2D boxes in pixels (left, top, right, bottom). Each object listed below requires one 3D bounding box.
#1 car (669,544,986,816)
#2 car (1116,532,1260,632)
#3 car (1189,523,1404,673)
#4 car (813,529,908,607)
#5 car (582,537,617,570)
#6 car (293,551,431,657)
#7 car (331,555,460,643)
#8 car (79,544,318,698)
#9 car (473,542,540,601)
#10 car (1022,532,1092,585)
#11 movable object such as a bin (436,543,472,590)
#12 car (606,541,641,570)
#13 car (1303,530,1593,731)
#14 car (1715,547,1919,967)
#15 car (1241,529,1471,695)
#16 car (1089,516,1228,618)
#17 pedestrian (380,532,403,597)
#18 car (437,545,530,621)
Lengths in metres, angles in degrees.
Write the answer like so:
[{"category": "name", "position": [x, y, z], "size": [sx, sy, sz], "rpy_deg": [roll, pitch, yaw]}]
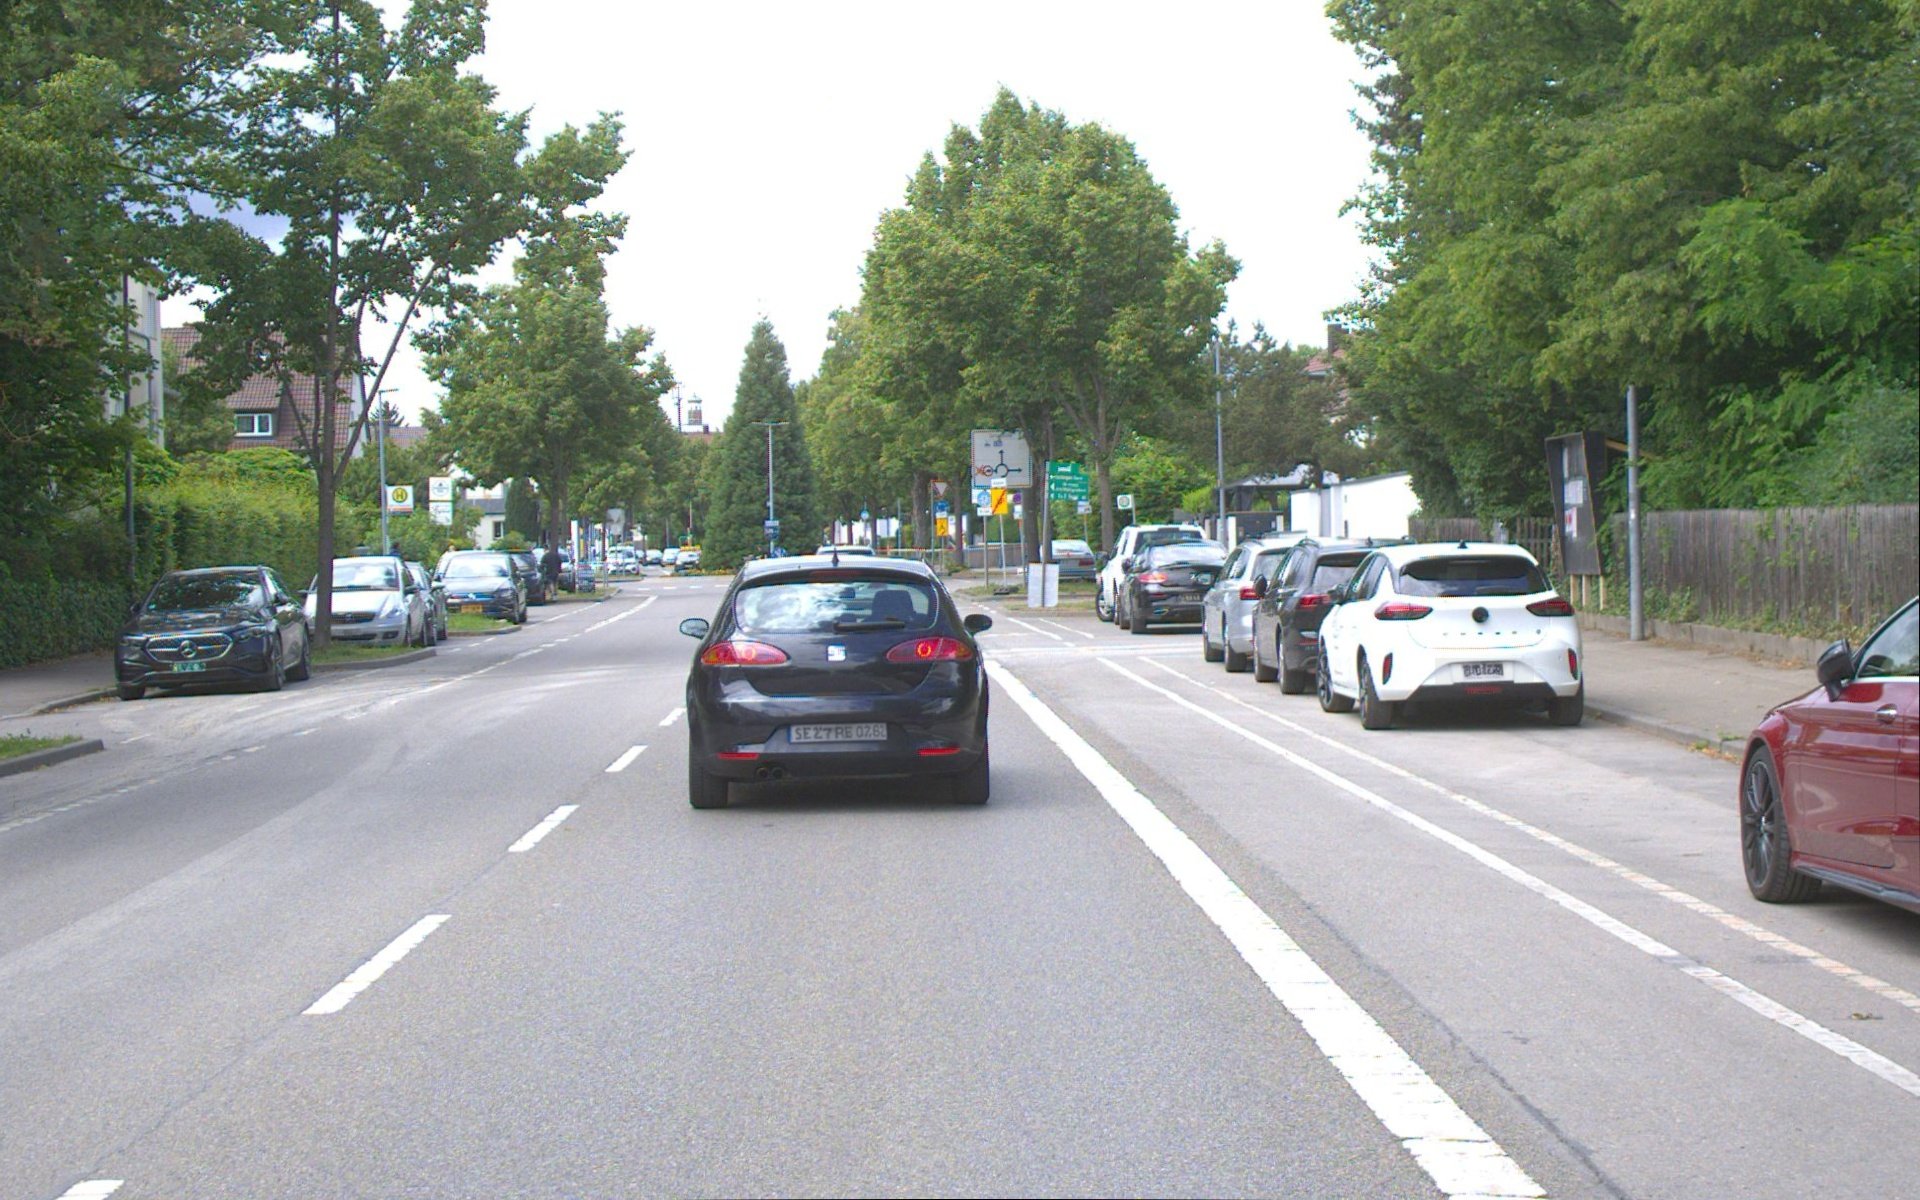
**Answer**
[{"category": "car", "position": [-0.737, 0.407, 20.923], "size": [1.732, 1.481, 4.000], "rpy_deg": [1, 1, 0]}, {"category": "car", "position": [3.447, -0.311, 52.637], "size": [1.863, 1.412, 4.603], "rpy_deg": [-1, 1, 0]}, {"category": "car", "position": [3.777, -0.051, 39.321], "size": [1.861, 1.605, 4.687], "rpy_deg": [0, 1, -2]}, {"category": "car", "position": [-2.171, -0.706, 74.831], "size": [1.993, 1.607, 4.000], "rpy_deg": [-1, 1, -2]}, {"category": "car", "position": [-22.511, -2.916, 214.766], "size": [2.029, 1.964, 4.001], "rpy_deg": [-2, 1, -5]}, {"category": "car", "position": [-9.767, 0.041, 56.376], "size": [1.718, 1.607, 3.911], "rpy_deg": [-2, 1, -3]}, {"category": "car", "position": [-10.476, -0.053, 64.063], "size": [1.993, 1.480, 4.891], "rpy_deg": [-2, 1, -5]}, {"category": "car", "position": [-9.189, 0.203, 41.909], "size": [2.095, 1.641, 5.039], "rpy_deg": [-2, 1, -4]}, {"category": "car", "position": [-13.605, -0.872, 103.272], "size": [1.724, 1.719, 4.566], "rpy_deg": [-1, 1, -5]}, {"category": "car", "position": [2.695, -1.142, 95.940], "size": [1.611, 1.372, 4.387], "rpy_deg": [-2, 0, -2]}, {"category": "movable object such as a bin", "position": [-17.935, -1.202, 121.902], "size": [1.205, 1.645, 0.998], "rpy_deg": [1, 0, -5]}, {"category": "car", "position": [-19.253, -2.565, 196.868], "size": [1.797, 1.596, 4.001], "rpy_deg": [-2, 1, -4]}, {"category": "car", "position": [3.938, 0.212, 28.320], "size": [1.768, 1.505, 4.031], "rpy_deg": [-1, 1, 0]}, {"category": "car", "position": [4.238, 0.552, 12.620], "size": [1.859, 1.408, 4.444], "rpy_deg": [1, 2, -1]}, {"category": "car", "position": [3.855, 0.062, 34.104], "size": [1.702, 1.505, 4.538], "rpy_deg": [0, 1, -1]}, {"category": "car", "position": [3.357, -0.563, 58.895], "size": [1.900, 1.637, 4.117], "rpy_deg": [-2, 1, -3]}, {"category": "pedestrian", "position": [-15.975, -0.991, 96.644], "size": [0.503, 1.800, 0.671], "rpy_deg": [-2, 1, -3]}, {"category": "car", "position": [-10.258, -0.389, 74.210], "size": [1.677, 1.546, 4.273], "rpy_deg": [-2, 1, -4]}]
